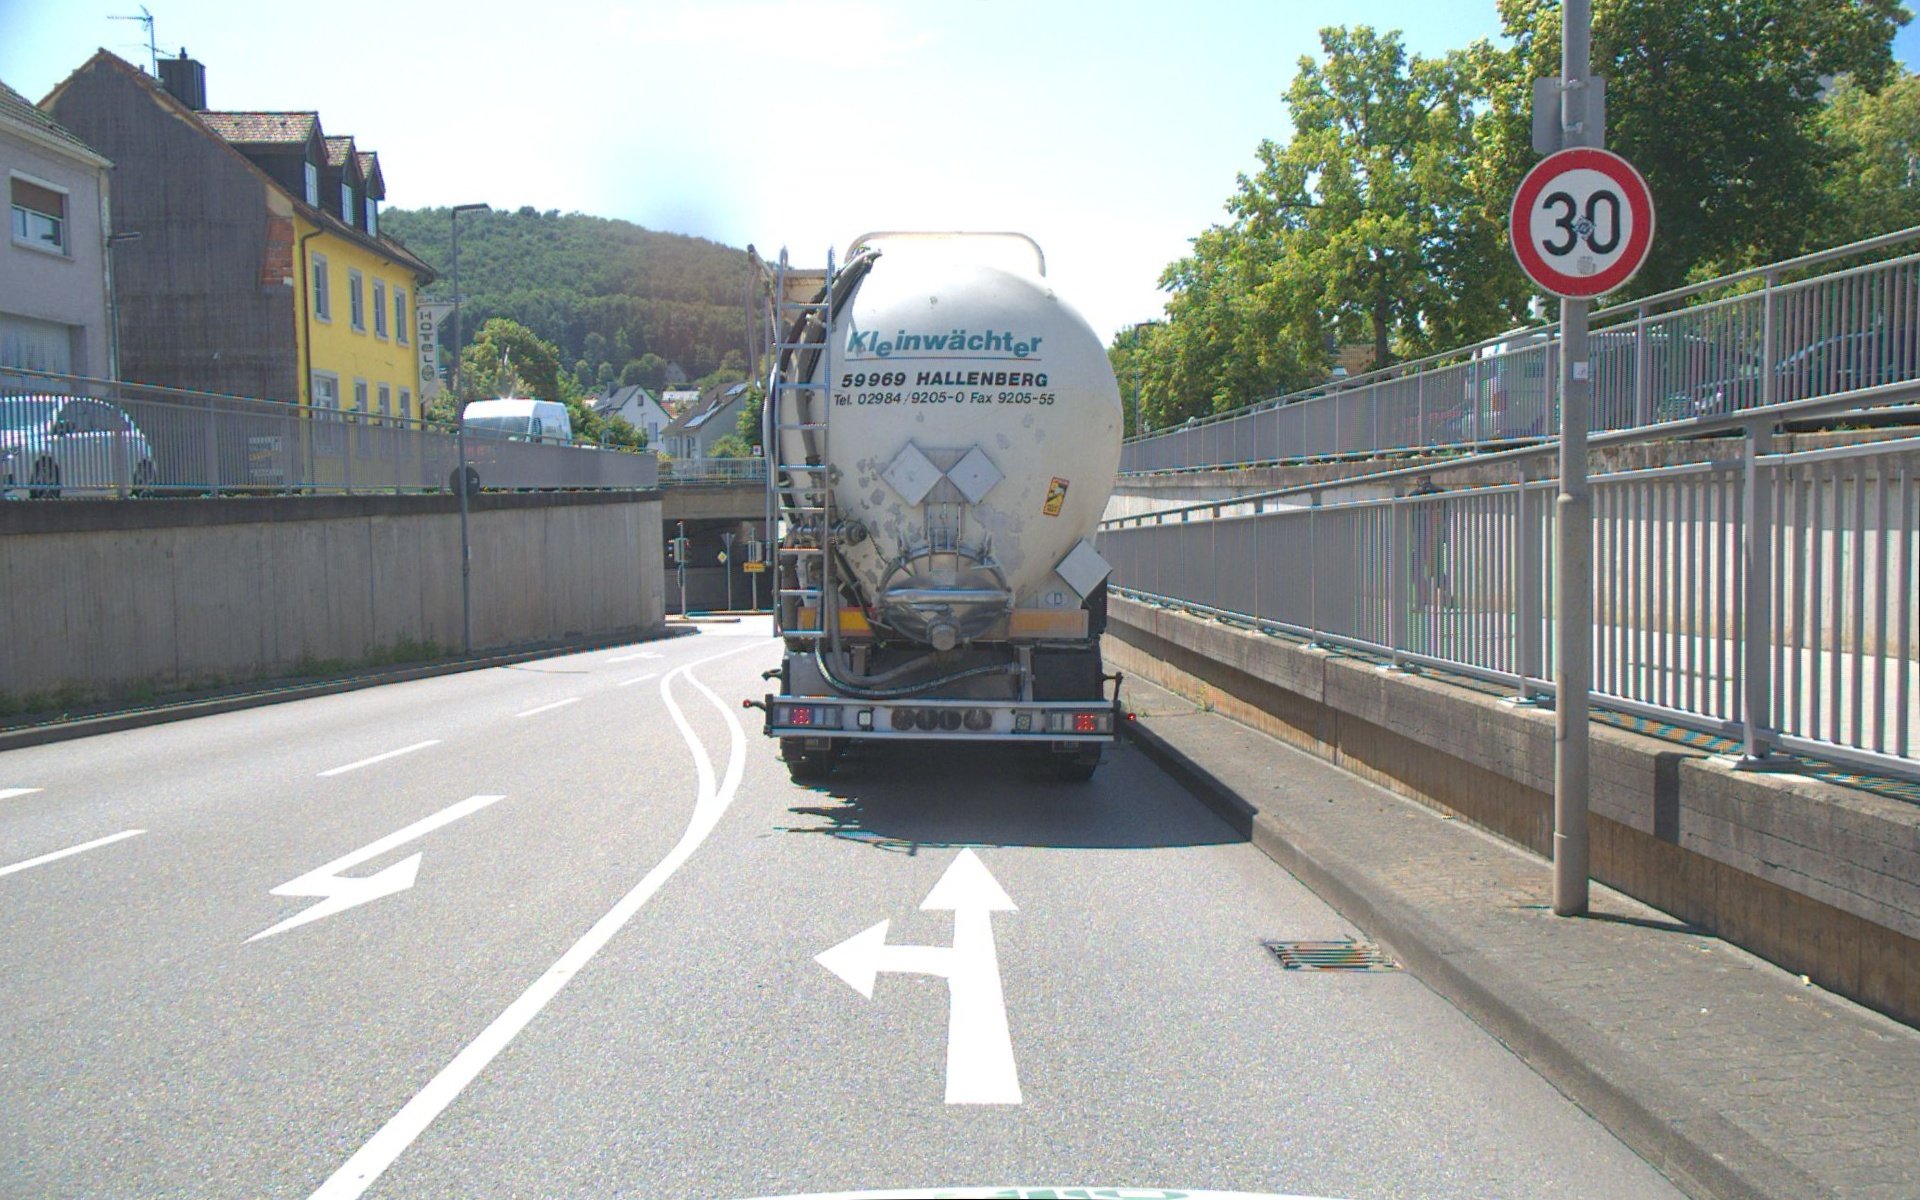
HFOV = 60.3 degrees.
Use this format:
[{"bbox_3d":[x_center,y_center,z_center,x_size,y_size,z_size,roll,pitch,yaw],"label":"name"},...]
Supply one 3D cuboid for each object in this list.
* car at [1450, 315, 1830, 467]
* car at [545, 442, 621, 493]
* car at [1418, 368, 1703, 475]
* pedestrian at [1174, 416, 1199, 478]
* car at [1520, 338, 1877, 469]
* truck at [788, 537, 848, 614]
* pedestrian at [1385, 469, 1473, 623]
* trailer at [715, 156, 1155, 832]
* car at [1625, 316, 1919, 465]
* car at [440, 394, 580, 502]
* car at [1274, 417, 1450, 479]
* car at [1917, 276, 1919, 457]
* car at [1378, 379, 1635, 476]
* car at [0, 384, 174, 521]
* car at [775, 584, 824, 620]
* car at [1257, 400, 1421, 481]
[{"bbox_3d":[10.290,-3.150,25.315,5.007,2.099,1.989,-1,3,0],"label":"car"},{"bbox_3d":[-11.810,-4.132,52.025,1.586,1.526,4.045,1,4,-2],"label":"car"},{"bbox_3d":[9.886,-2.936,27.443,4.118,1.623,1.687,-1,3,0],"label":"car"},{"bbox_3d":[6.813,-4.585,49.716,0.659,1.810,0.594,-1,3,1],"label":"pedestrian"},{"bbox_3d":[9.966,-2.643,22.548,4.118,1.623,1.687,-1,3,0],"label":"car"},{"bbox_3d":[-7.524,-1.272,88.147,2.607,3.928,6.579,0,0,0],"label":"truck"},{"bbox_3d":[5.659,-0.645,19.997,0.819,1.813,0.788,-1,1,-1],"label":"pedestrian"},{"bbox_3d":[-0.121,-0.689,16.825,2.679,4.135,13.313,0,0,0],"label":"trailer"},{"bbox_3d":[9.989,-2.352,18.771,4.197,1.524,1.749,-1,3,0],"label":"car"},{"bbox_3d":[-11.477,-3.830,42.643,2.023,2.580,5.664,1,3,0],"label":"car"},{"bbox_3d":[9.623,-3.636,39.768,3.825,1.391,1.687,-1,3,0],"label":"car"},{"bbox_3d":[10.165,-1.955,13.161,4.118,1.524,1.687,-1,3,0],"label":"car"},{"bbox_3d":[9.862,-3.107,30.045,4.118,1.623,1.687,-1,3,0],"label":"car"},{"bbox_3d":[-11.399,-1.751,20.014,1.776,1.487,4.310,1,4,-1],"label":"car"},{"bbox_3d":[-7.028,0.066,72.626,1.724,1.515,4.368,0,0,0],"label":"car"},{"bbox_3d":[9.630,-4.049,42.199,3.825,1.917,1.687,-1,3,0],"label":"car"}]
